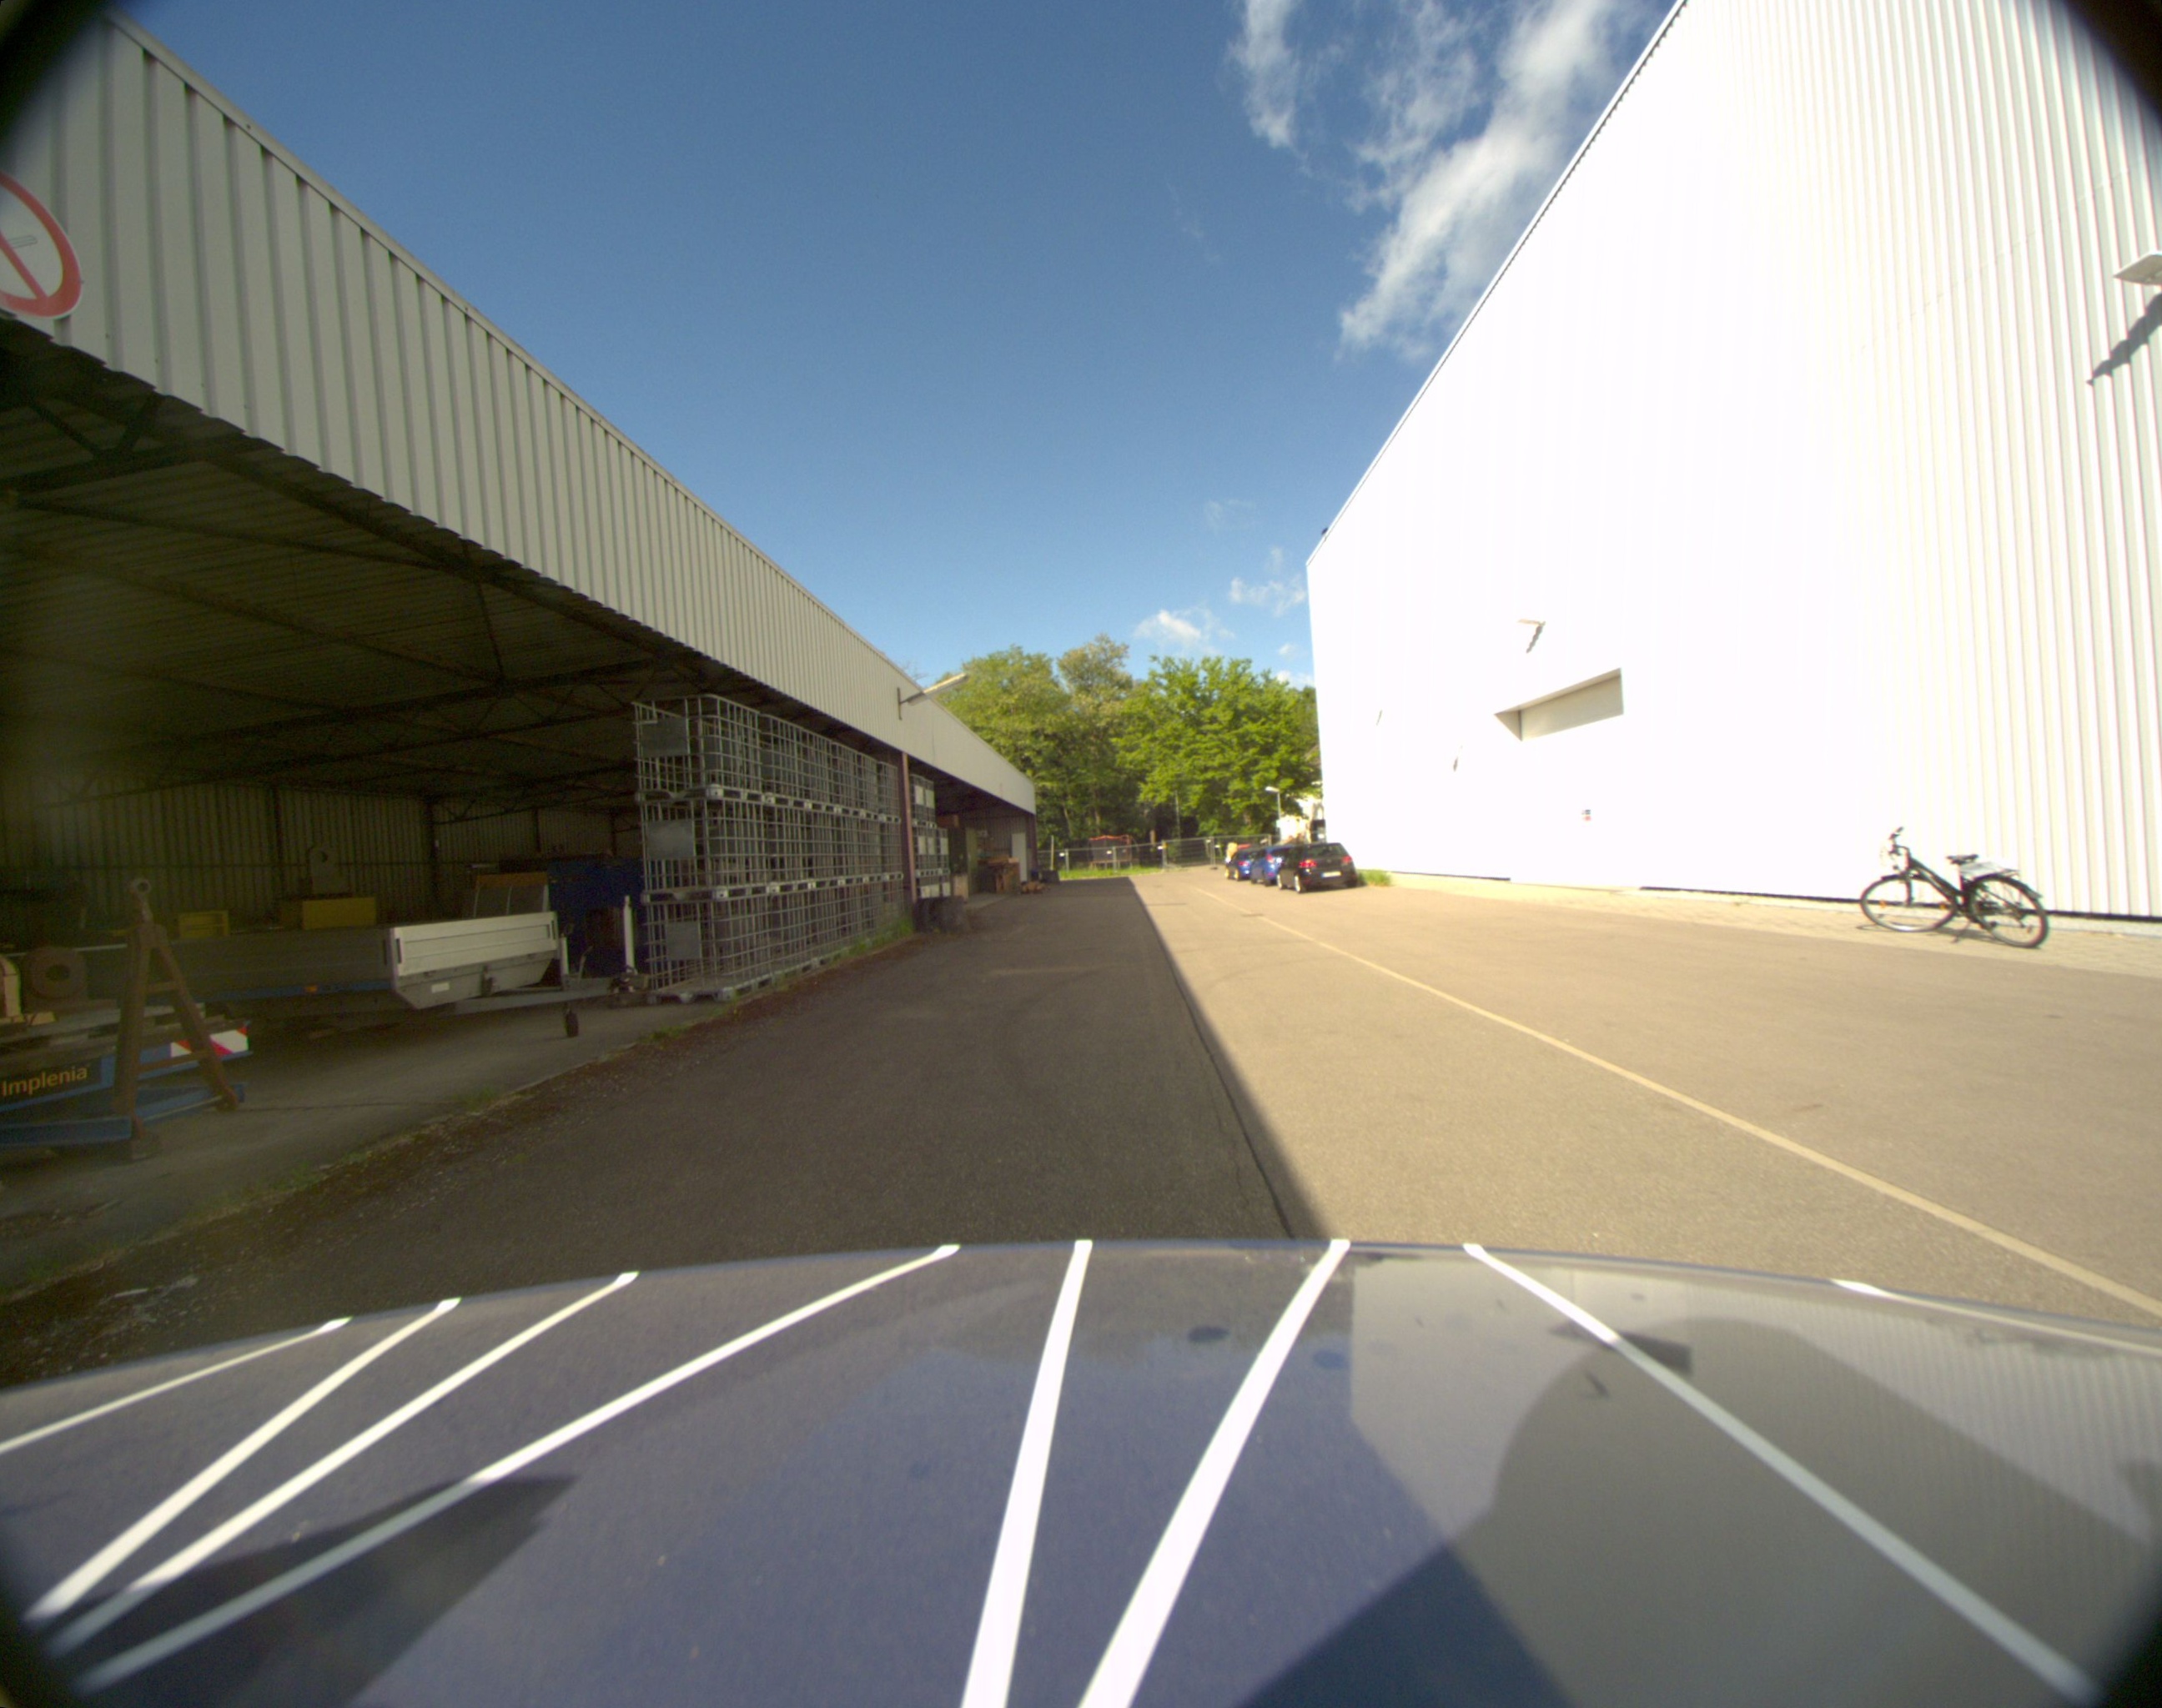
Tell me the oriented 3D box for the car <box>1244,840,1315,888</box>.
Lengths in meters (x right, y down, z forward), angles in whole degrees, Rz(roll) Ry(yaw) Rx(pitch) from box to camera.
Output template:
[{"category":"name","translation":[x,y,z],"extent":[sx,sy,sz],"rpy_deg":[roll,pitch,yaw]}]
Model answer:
[{"category":"car","translation":[7.468,0.351,28.899],"extent":[1.789,1.513,4.001],"rpy_deg":[-7,0,5]}]

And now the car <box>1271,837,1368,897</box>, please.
[{"category":"car","translation":[7.297,0.356,23.652],"extent":[1.895,1.513,4.001],"rpy_deg":[-7,0,5]}]

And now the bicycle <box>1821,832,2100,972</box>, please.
[{"category":"bicycle","translation":[8.667,0.412,7.650],"extent":[0.909,1.136,1.901],"rpy_deg":[-7,0,18]}]

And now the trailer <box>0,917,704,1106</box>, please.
[{"category":"trailer","translation":[-6.920,1.361,7.009],"extent":[5.836,1.113,2.029],"rpy_deg":[-3,0,2]}]

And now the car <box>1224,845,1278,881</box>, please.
[{"category":"car","translation":[7.619,0.368,34.401],"extent":[1.789,1.431,4.001],"rpy_deg":[-3,0,4]}]

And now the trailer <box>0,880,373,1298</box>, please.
[{"category":"trailer","translation":[-6.805,1.099,3.649],"extent":[4.879,1.619,2.029],"rpy_deg":[-3,0,2]}]
